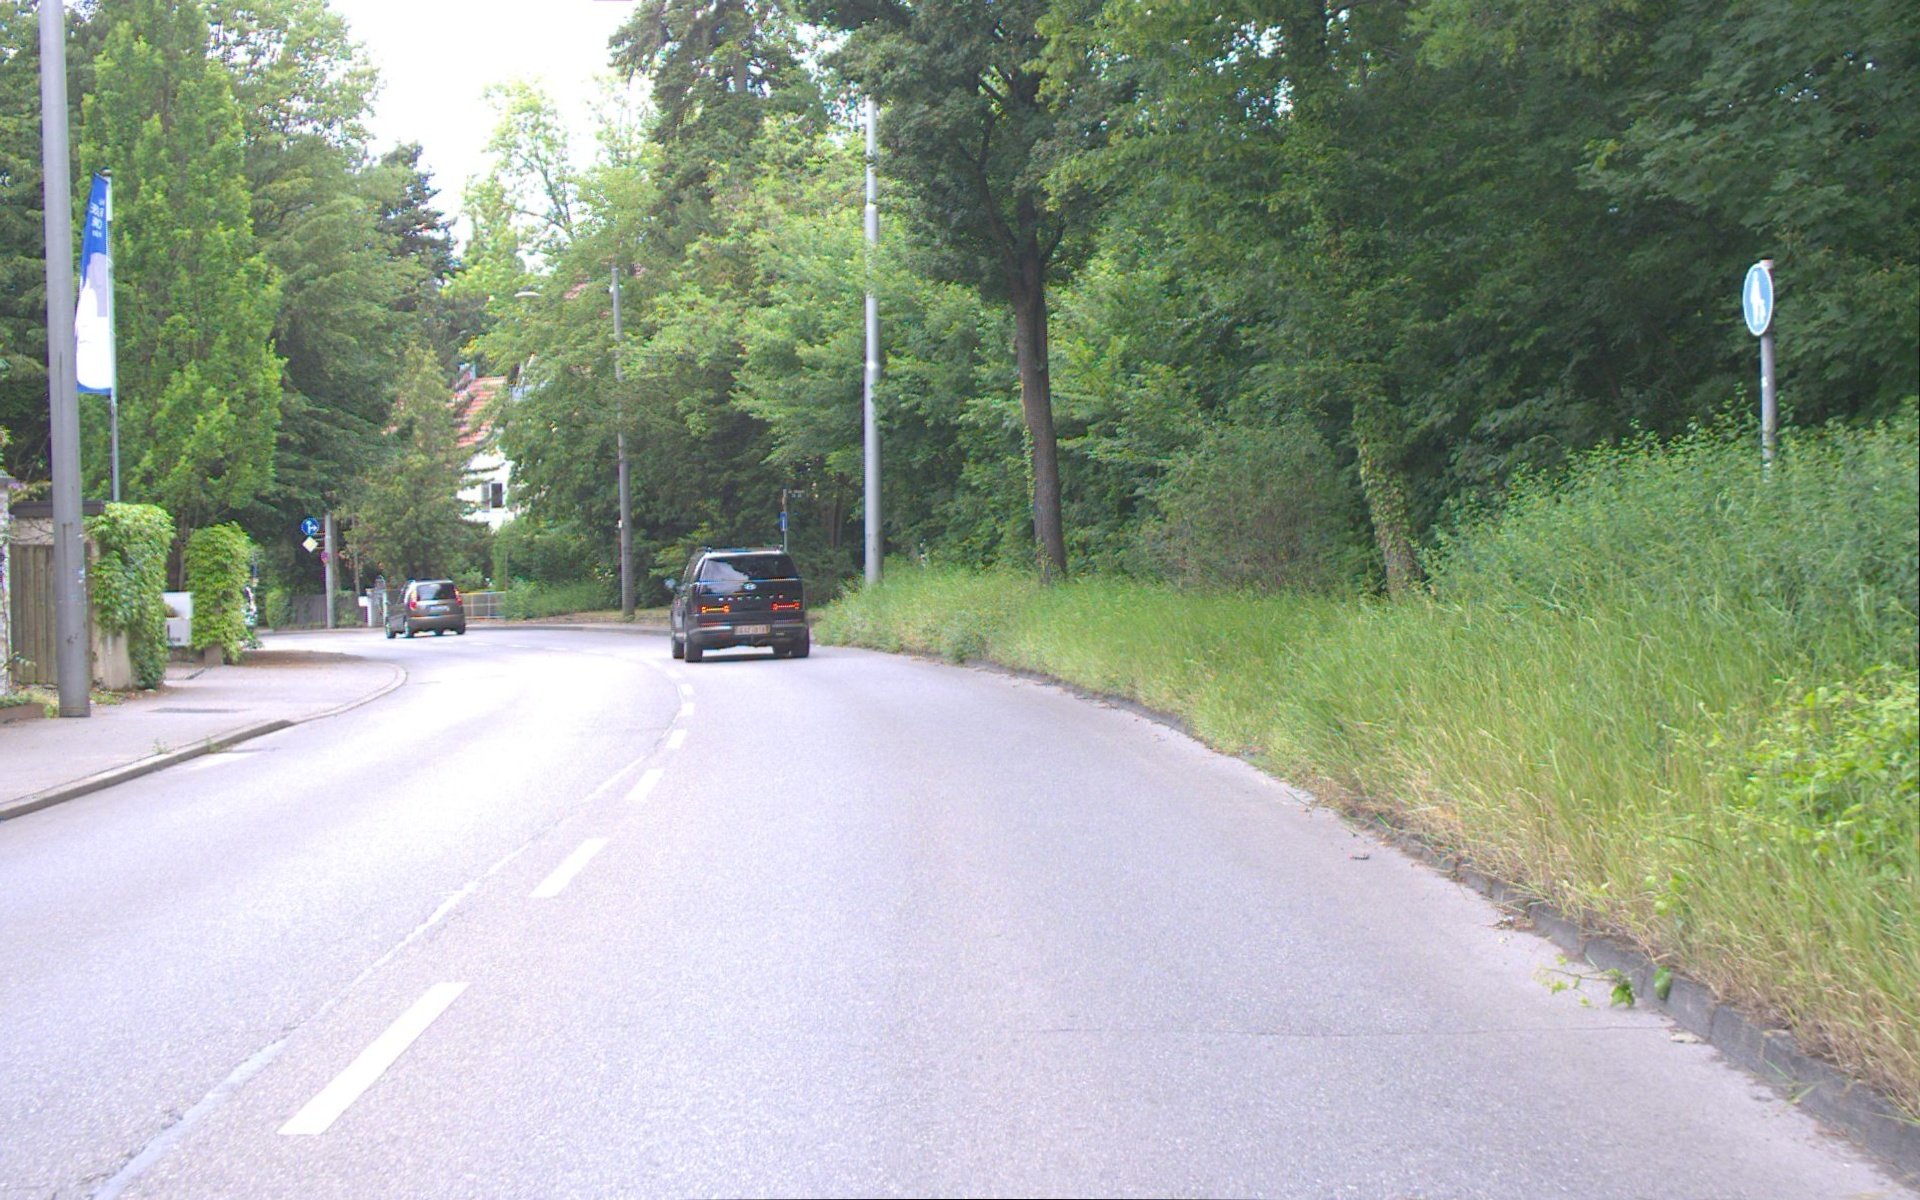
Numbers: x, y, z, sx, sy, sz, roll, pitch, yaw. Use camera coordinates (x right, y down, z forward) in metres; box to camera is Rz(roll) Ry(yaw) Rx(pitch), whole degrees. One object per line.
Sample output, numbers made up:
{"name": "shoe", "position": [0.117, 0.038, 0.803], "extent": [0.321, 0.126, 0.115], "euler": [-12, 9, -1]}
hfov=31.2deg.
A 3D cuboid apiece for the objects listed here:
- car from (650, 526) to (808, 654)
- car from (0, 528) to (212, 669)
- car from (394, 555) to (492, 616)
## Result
{"name": "car", "position": [-3.646, -0.194, 53.589], "extent": [1.993, 1.875, 4.001], "euler": [-2, 1, -10]}
{"name": "car", "position": [-14.233, -0.008, 53.983], "extent": [2.420, 2.066, 5.358], "euler": [-2, 1, -43]}
{"name": "car", "position": [-14.506, -0.426, 96.314], "extent": [1.993, 1.612, 4.001], "euler": [-2, 2, -18]}
